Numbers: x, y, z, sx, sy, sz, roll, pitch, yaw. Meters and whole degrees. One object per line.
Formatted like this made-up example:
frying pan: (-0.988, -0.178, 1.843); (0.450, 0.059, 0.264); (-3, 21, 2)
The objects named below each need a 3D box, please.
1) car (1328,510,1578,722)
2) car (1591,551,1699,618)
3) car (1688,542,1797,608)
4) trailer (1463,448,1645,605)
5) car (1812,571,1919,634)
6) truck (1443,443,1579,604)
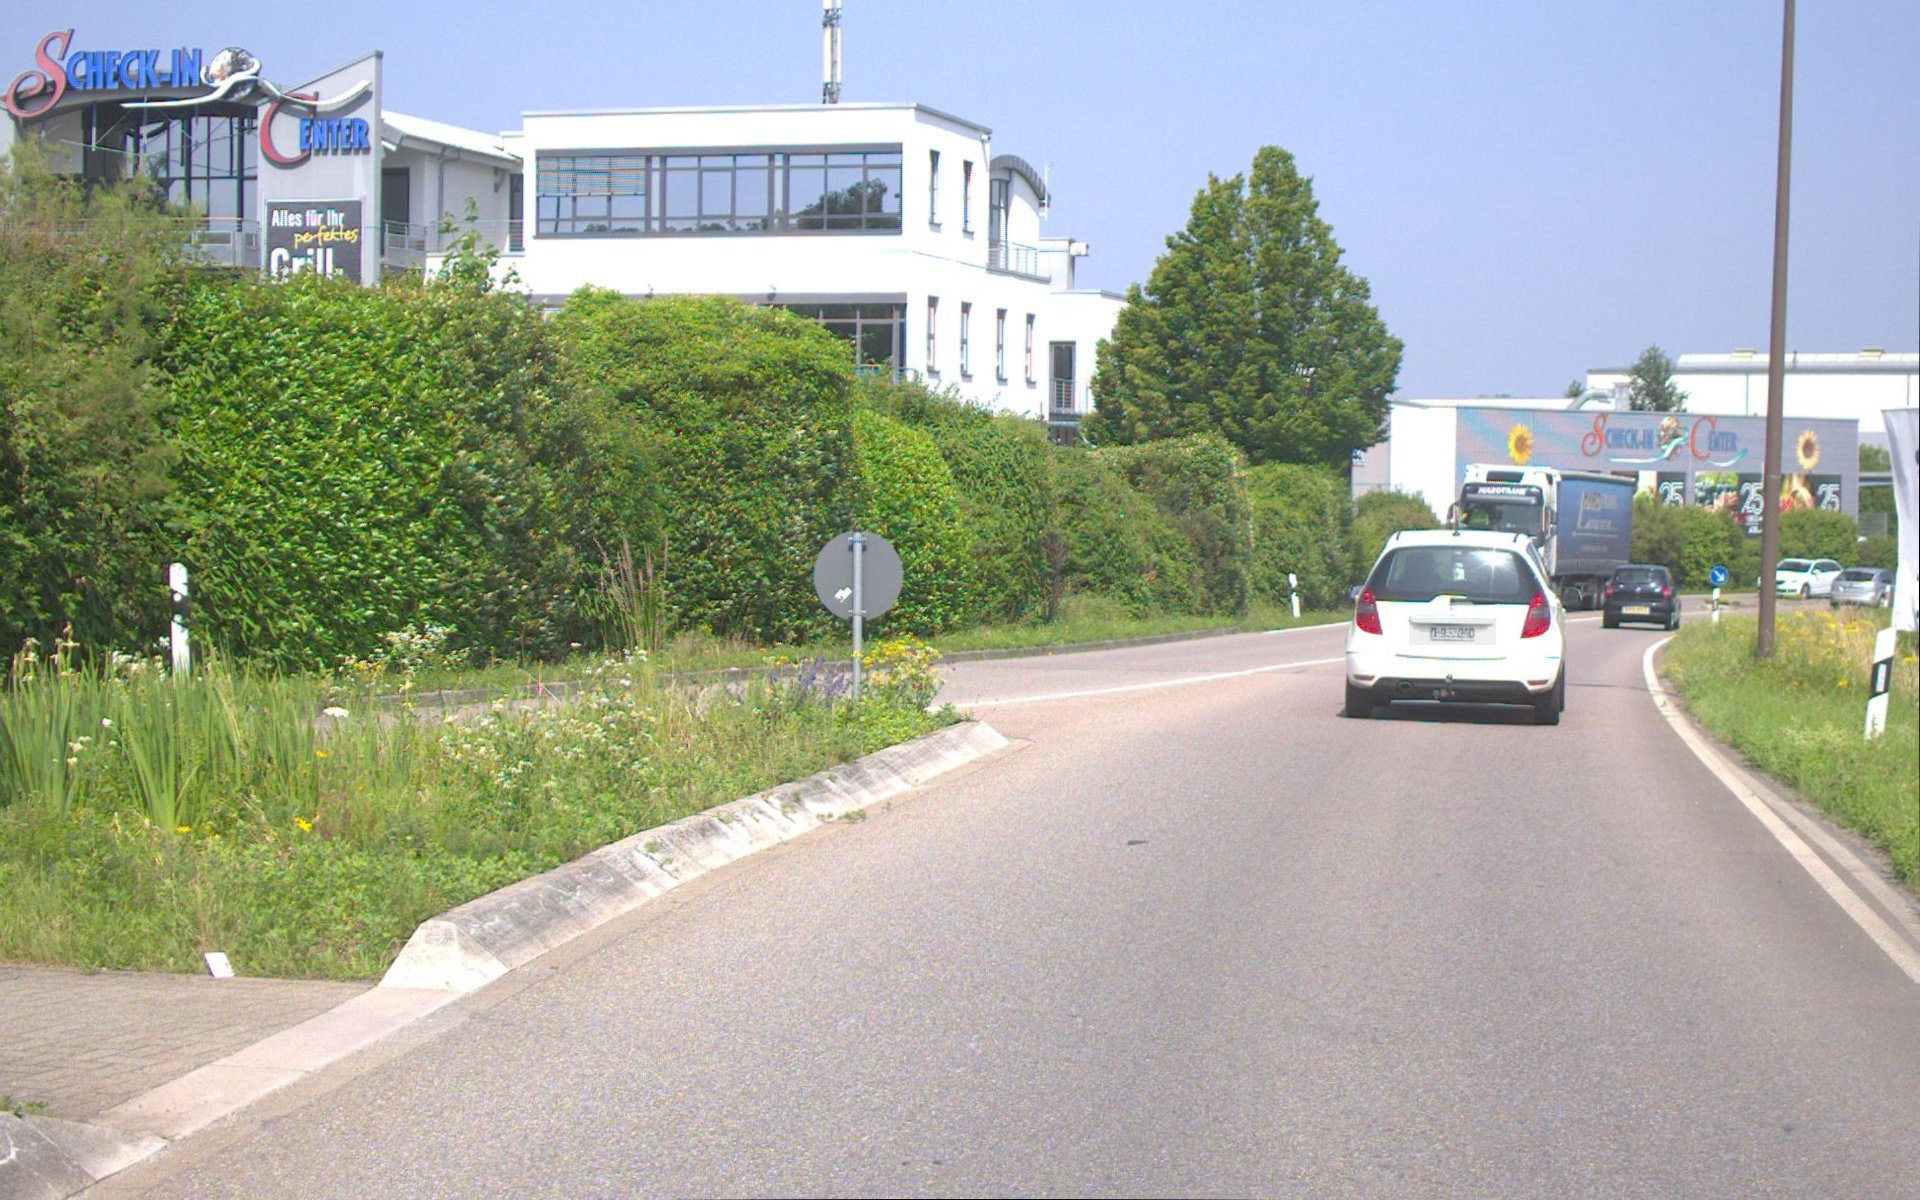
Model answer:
car: (4.284, 0.092, 29.447); (1.782, 1.597, 3.891); (3, 2, 12)
car: (16.248, -0.368, 81.406); (1.830, 1.465, 4.405); (3, 1, 20)
car: (25.677, -0.811, 112.702); (1.998, 2.007, 3.992); (3, 1, 36)
trailer: (17.710, -2.064, 101.582); (2.673, 4.226, 14.551); (3, 1, 20)
car: (30.750, 0.088, 116.358); (1.999, 2.007, 3.990); (3, 1, 42)
truck: (15.106, -2.060, 93.948); (2.515, 4.243, 6.107); (1, 1, 20)
